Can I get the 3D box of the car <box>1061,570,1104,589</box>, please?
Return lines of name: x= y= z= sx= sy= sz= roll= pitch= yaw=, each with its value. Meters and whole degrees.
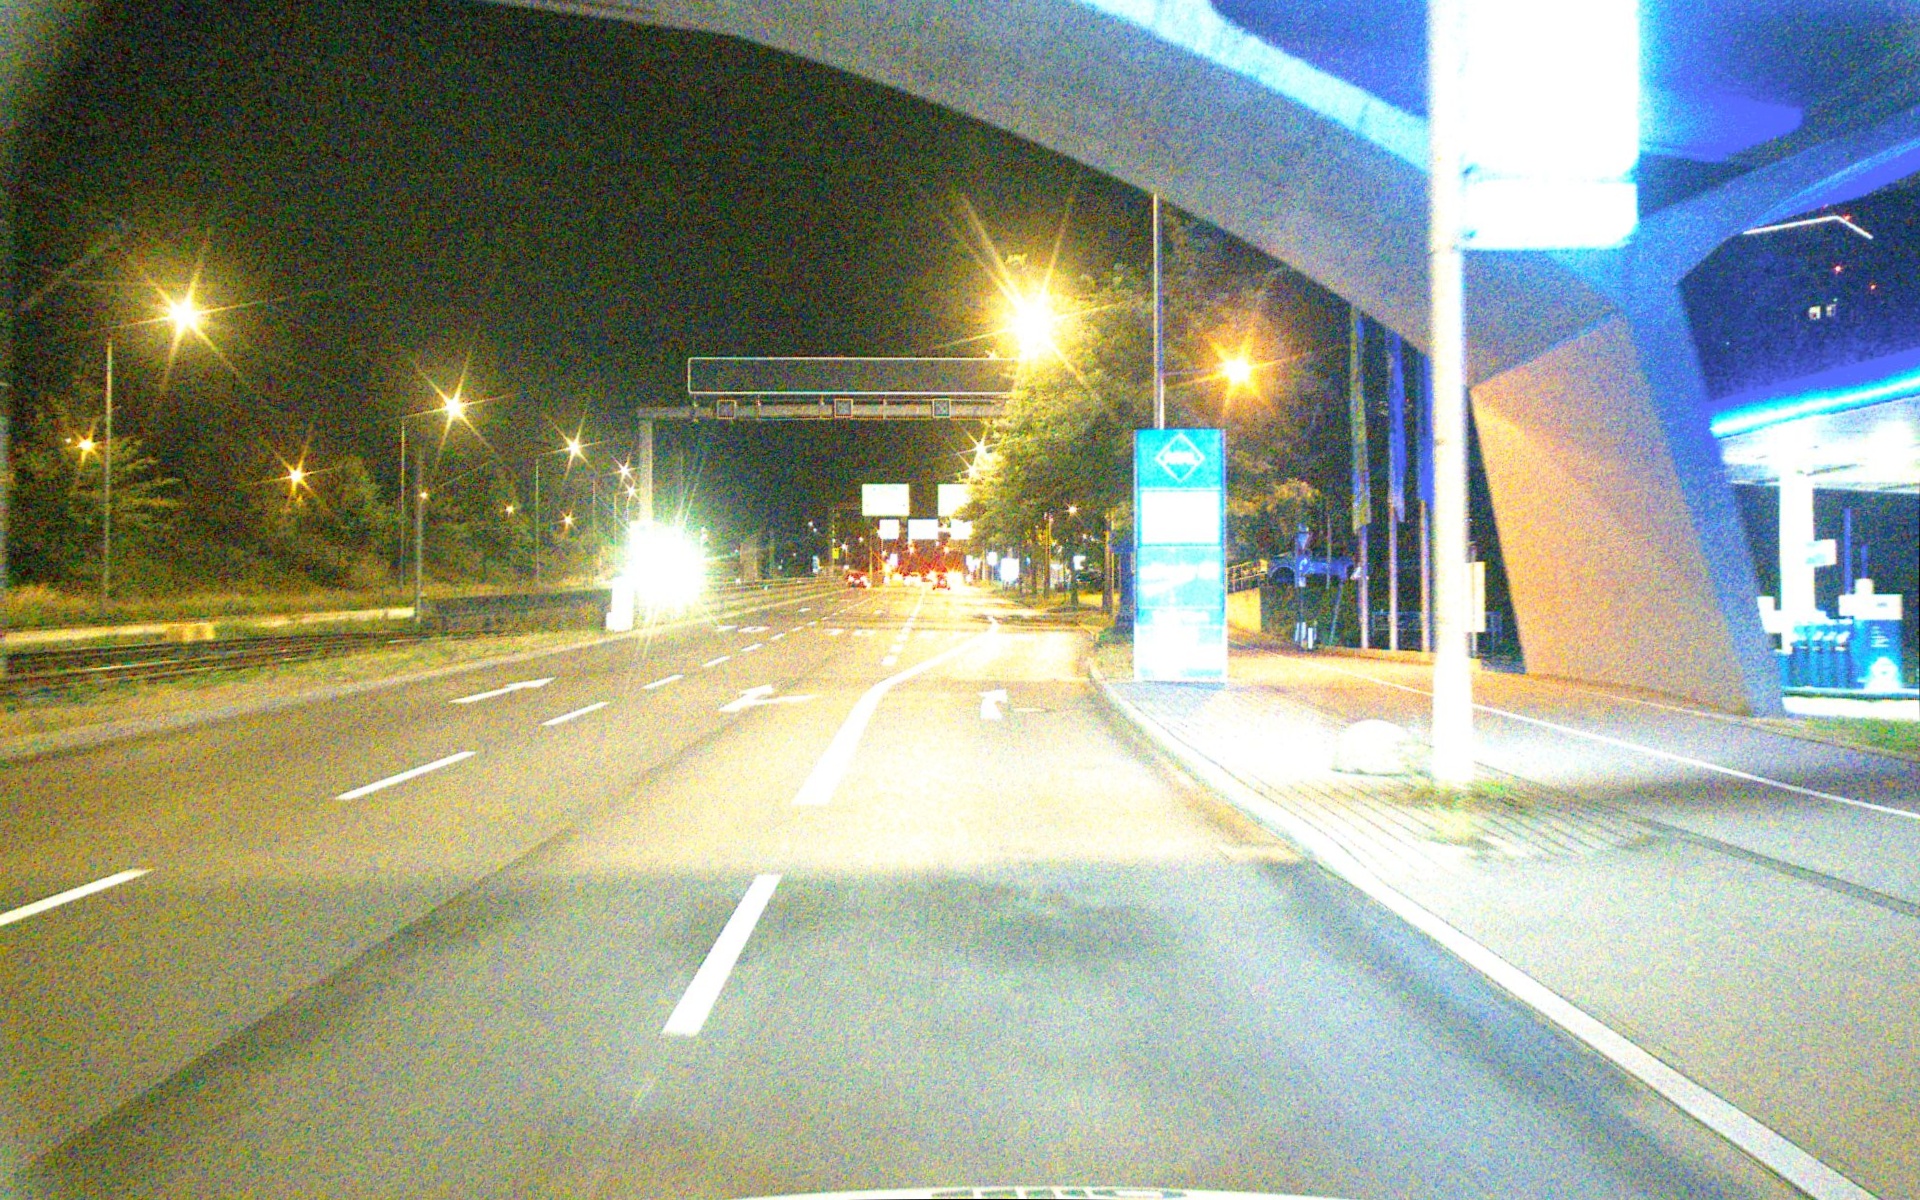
car: x=10.628 y=-1.761 z=143.719 sx=3.553 sy=1.476 sz=1.706 roll=2 pitch=-1 yaw=-5

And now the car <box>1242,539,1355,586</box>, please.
car: x=12.812 y=-1.396 z=62.737 sx=3.905 sy=1.599 sz=1.738 roll=-2 pitch=-1 yaw=1

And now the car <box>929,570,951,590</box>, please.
car: x=-1.956 y=-1.970 z=163.587 sx=1.927 sy=1.741 sz=4.000 roll=2 pitch=-1 yaw=1

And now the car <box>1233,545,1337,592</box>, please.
car: x=12.811 y=-1.248 z=65.296 sx=3.672 sy=1.615 sz=1.779 roll=-3 pitch=-1 yaw=-2

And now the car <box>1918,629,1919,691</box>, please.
car: x=22.545 y=1.347 z=35.225 sx=1.621 sy=1.382 sz=4.063 roll=1 pitch=-1 yaw=-6

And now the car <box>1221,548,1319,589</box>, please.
car: x=12.688 y=-1.283 z=67.828 sx=3.650 sy=1.515 sz=1.741 roll=-2 pitch=-1 yaw=-3

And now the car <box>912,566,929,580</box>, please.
car: x=-5.127 y=-3.545 z=217.183 sx=1.963 sy=1.579 sz=4.295 roll=2 pitch=-1 yaw=1

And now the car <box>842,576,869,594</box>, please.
car: x=-10.959 y=-1.573 z=173.187 sx=1.936 sy=1.741 sz=3.982 roll=2 pitch=-1 yaw=-16

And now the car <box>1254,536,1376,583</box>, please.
car: x=12.955 y=-1.471 z=60.516 sx=4.034 sy=1.549 sz=1.822 roll=-1 pitch=-2 yaw=1

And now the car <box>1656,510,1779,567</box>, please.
car: x=27.769 y=-2.224 z=60.700 sx=3.734 sy=1.928 sz=1.751 roll=1 pitch=-1 yaw=-4

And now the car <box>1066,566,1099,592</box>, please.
car: x=10.261 y=-1.756 z=138.603 sx=1.951 sy=1.979 sz=4.002 roll=1 pitch=-1 yaw=16

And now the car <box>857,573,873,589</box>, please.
car: x=-11.325 y=-2.291 z=196.945 sx=1.748 sy=1.741 sz=3.995 roll=2 pitch=-1 yaw=-6
